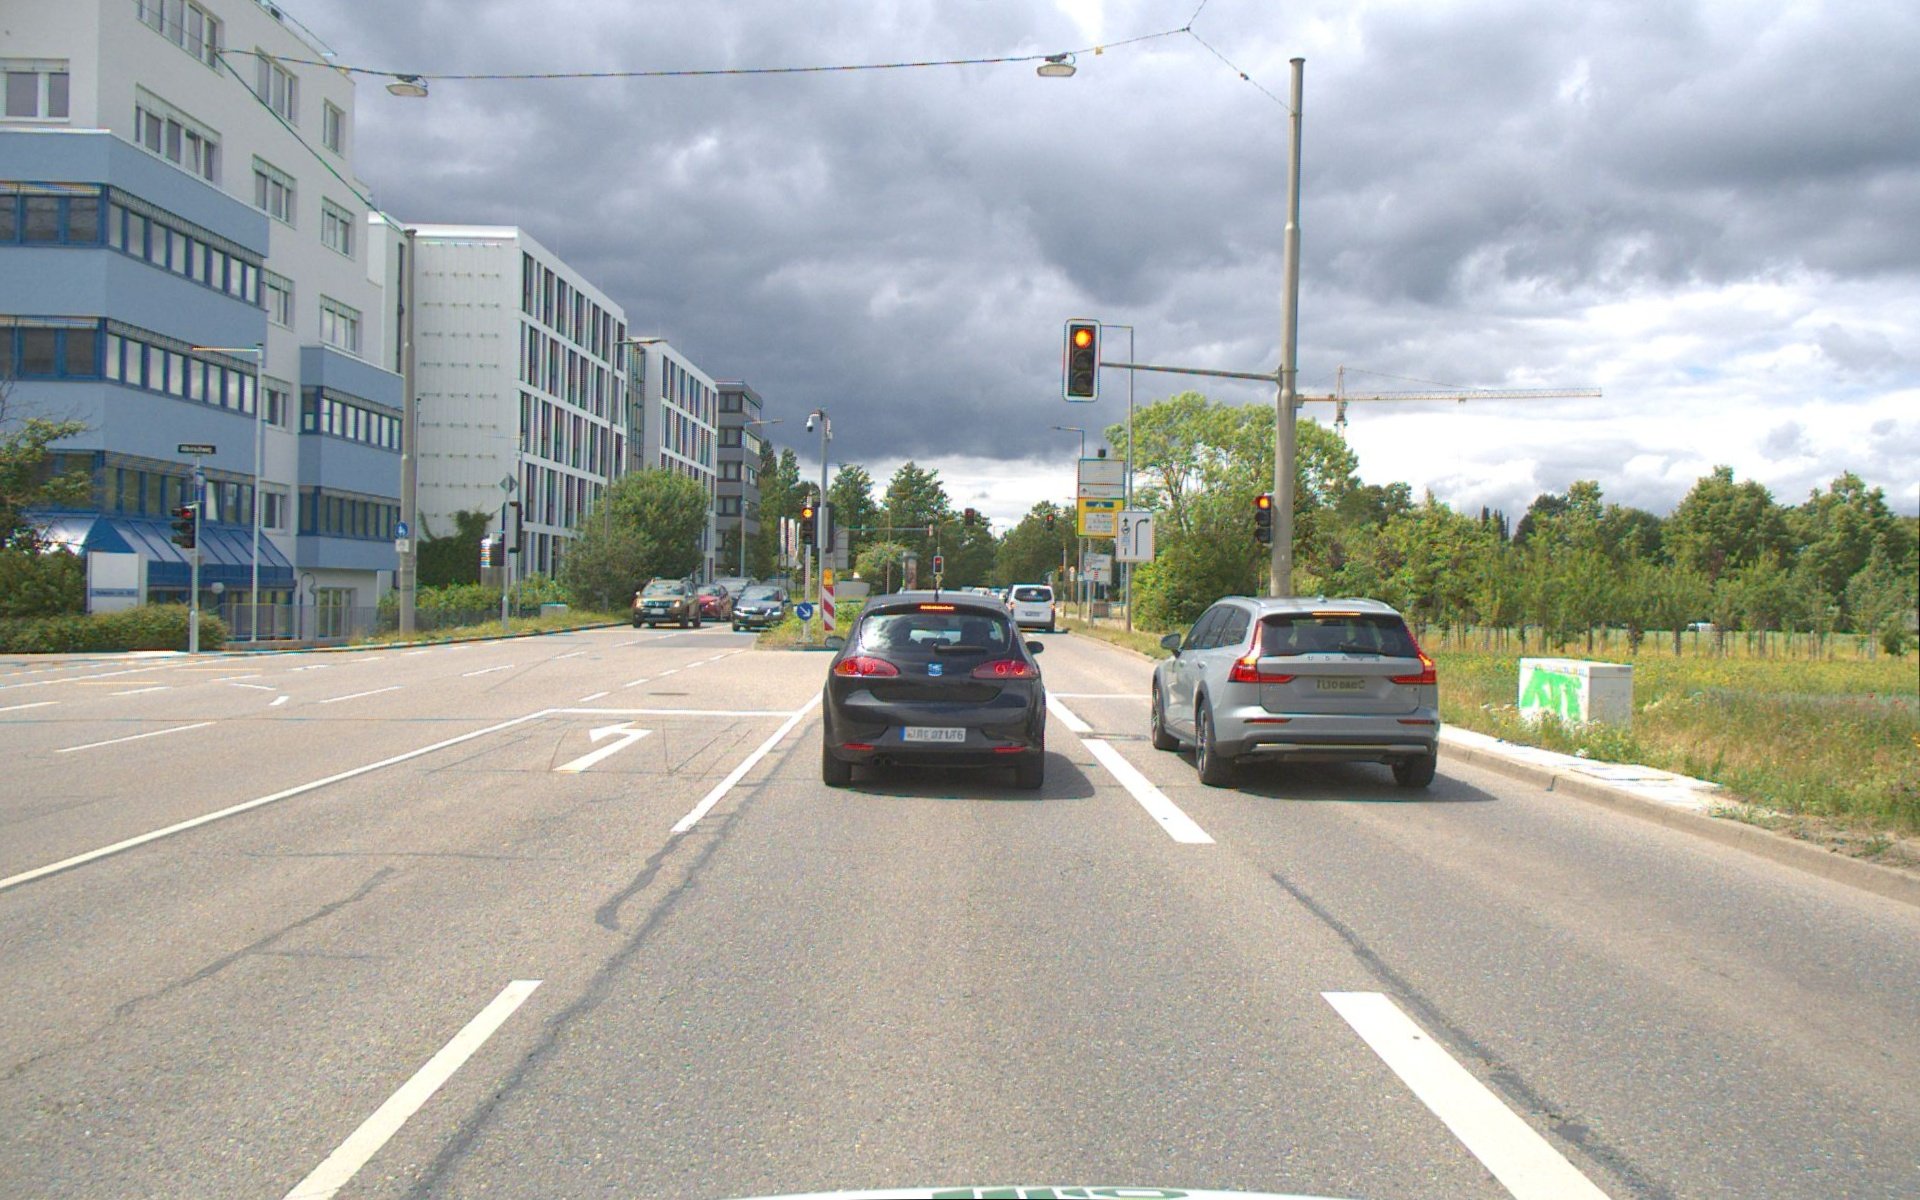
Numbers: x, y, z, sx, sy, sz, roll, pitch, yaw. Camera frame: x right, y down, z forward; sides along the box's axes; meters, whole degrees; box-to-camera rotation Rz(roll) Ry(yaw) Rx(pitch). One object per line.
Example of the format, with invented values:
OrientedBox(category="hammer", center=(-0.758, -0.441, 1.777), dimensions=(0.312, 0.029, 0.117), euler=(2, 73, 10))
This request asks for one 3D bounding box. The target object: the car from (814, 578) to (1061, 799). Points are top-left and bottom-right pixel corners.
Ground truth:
OrientedBox(category="car", center=(-0.078, 0.635, 13.798), dimensions=(1.711, 1.509, 4.001), euler=(2, 0, 2))

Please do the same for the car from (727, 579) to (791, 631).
OrientedBox(category="car", center=(-6.513, 0.140, 53.986), dimensions=(1.635, 1.551, 4.007), euler=(-1, 2, -1))

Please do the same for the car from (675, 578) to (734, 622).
OrientedBox(category="car", center=(-9.986, 0.016, 64.830), dimensions=(1.740, 1.640, 3.999), euler=(1, 0, -1))

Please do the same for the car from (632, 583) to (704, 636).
OrientedBox(category="car", center=(-9.718, 0.294, 55.277), dimensions=(1.715, 1.659, 3.999), euler=(-1, 0, -1))

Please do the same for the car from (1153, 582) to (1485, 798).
OrientedBox(category="car", center=(2.874, 0.668, 14.260), dimensions=(1.918, 1.552, 4.340), euler=(-1, 0, 0))

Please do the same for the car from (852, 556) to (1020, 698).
OrientedBox(category="car", center=(-0.340, 0.306, 21.497), dimensions=(1.943, 1.618, 4.224), euler=(1, 0, -2))

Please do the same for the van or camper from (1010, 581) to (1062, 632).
OrientedBox(category="van or camper", center=(3.028, 0.264, 66.579), dimensions=(1.860, 1.959, 3.999), euler=(1, 0, -1))
